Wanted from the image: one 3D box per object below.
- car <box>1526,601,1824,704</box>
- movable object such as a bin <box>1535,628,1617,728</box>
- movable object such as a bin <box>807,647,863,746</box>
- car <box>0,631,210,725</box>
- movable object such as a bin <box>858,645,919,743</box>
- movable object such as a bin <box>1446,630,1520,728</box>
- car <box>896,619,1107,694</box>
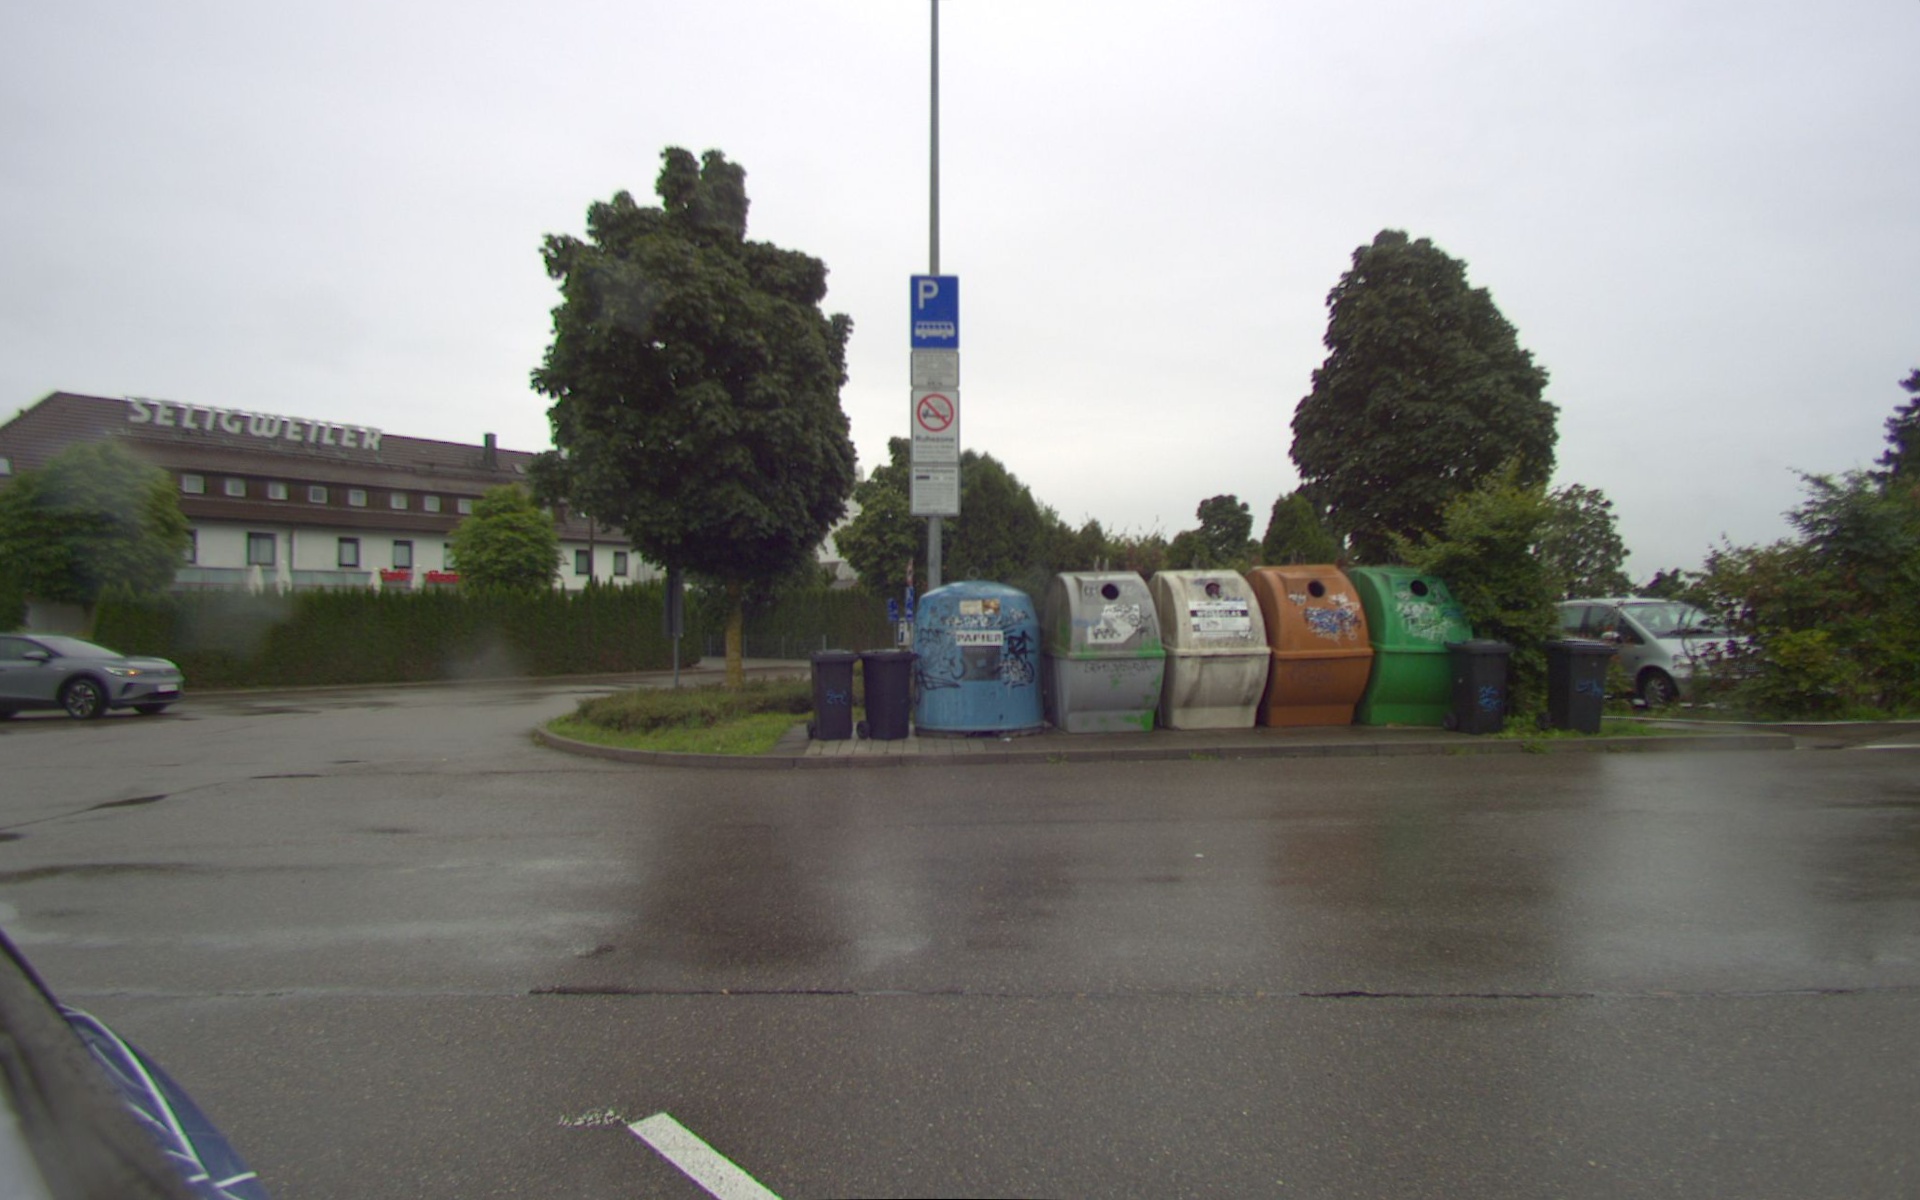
[{"bbox_3d":[10.176,0.679,14.794,1.783,1.278,3.646,-1,0,2],"label":"car"},{"bbox_3d":[5.928,0.744,9.760,0.432,0.923,0.508,-2,-2,0],"label":"movable object such as a bin"},{"bbox_3d":[-1.287,0.975,10.366,0.427,0.956,0.475,-1,-1,-23],"label":"movable object such as a bin"},{"bbox_3d":[-16.982,1.457,18.850,4.429,1.586,2.003,-1,-3,-7],"label":"car"},{"bbox_3d":[-0.735,0.953,10.382,0.450,0.956,0.400,-2,-1,42],"label":"movable object such as a bin"},{"bbox_3d":[5.184,0.770,10.047,0.433,0.930,0.508,-2,-2,3],"label":"movable object such as a bin"},{"bbox_3d":[0.940,1.189,21.586,4.281,1.460,1.864,-1,-2,10],"label":"car"}]
